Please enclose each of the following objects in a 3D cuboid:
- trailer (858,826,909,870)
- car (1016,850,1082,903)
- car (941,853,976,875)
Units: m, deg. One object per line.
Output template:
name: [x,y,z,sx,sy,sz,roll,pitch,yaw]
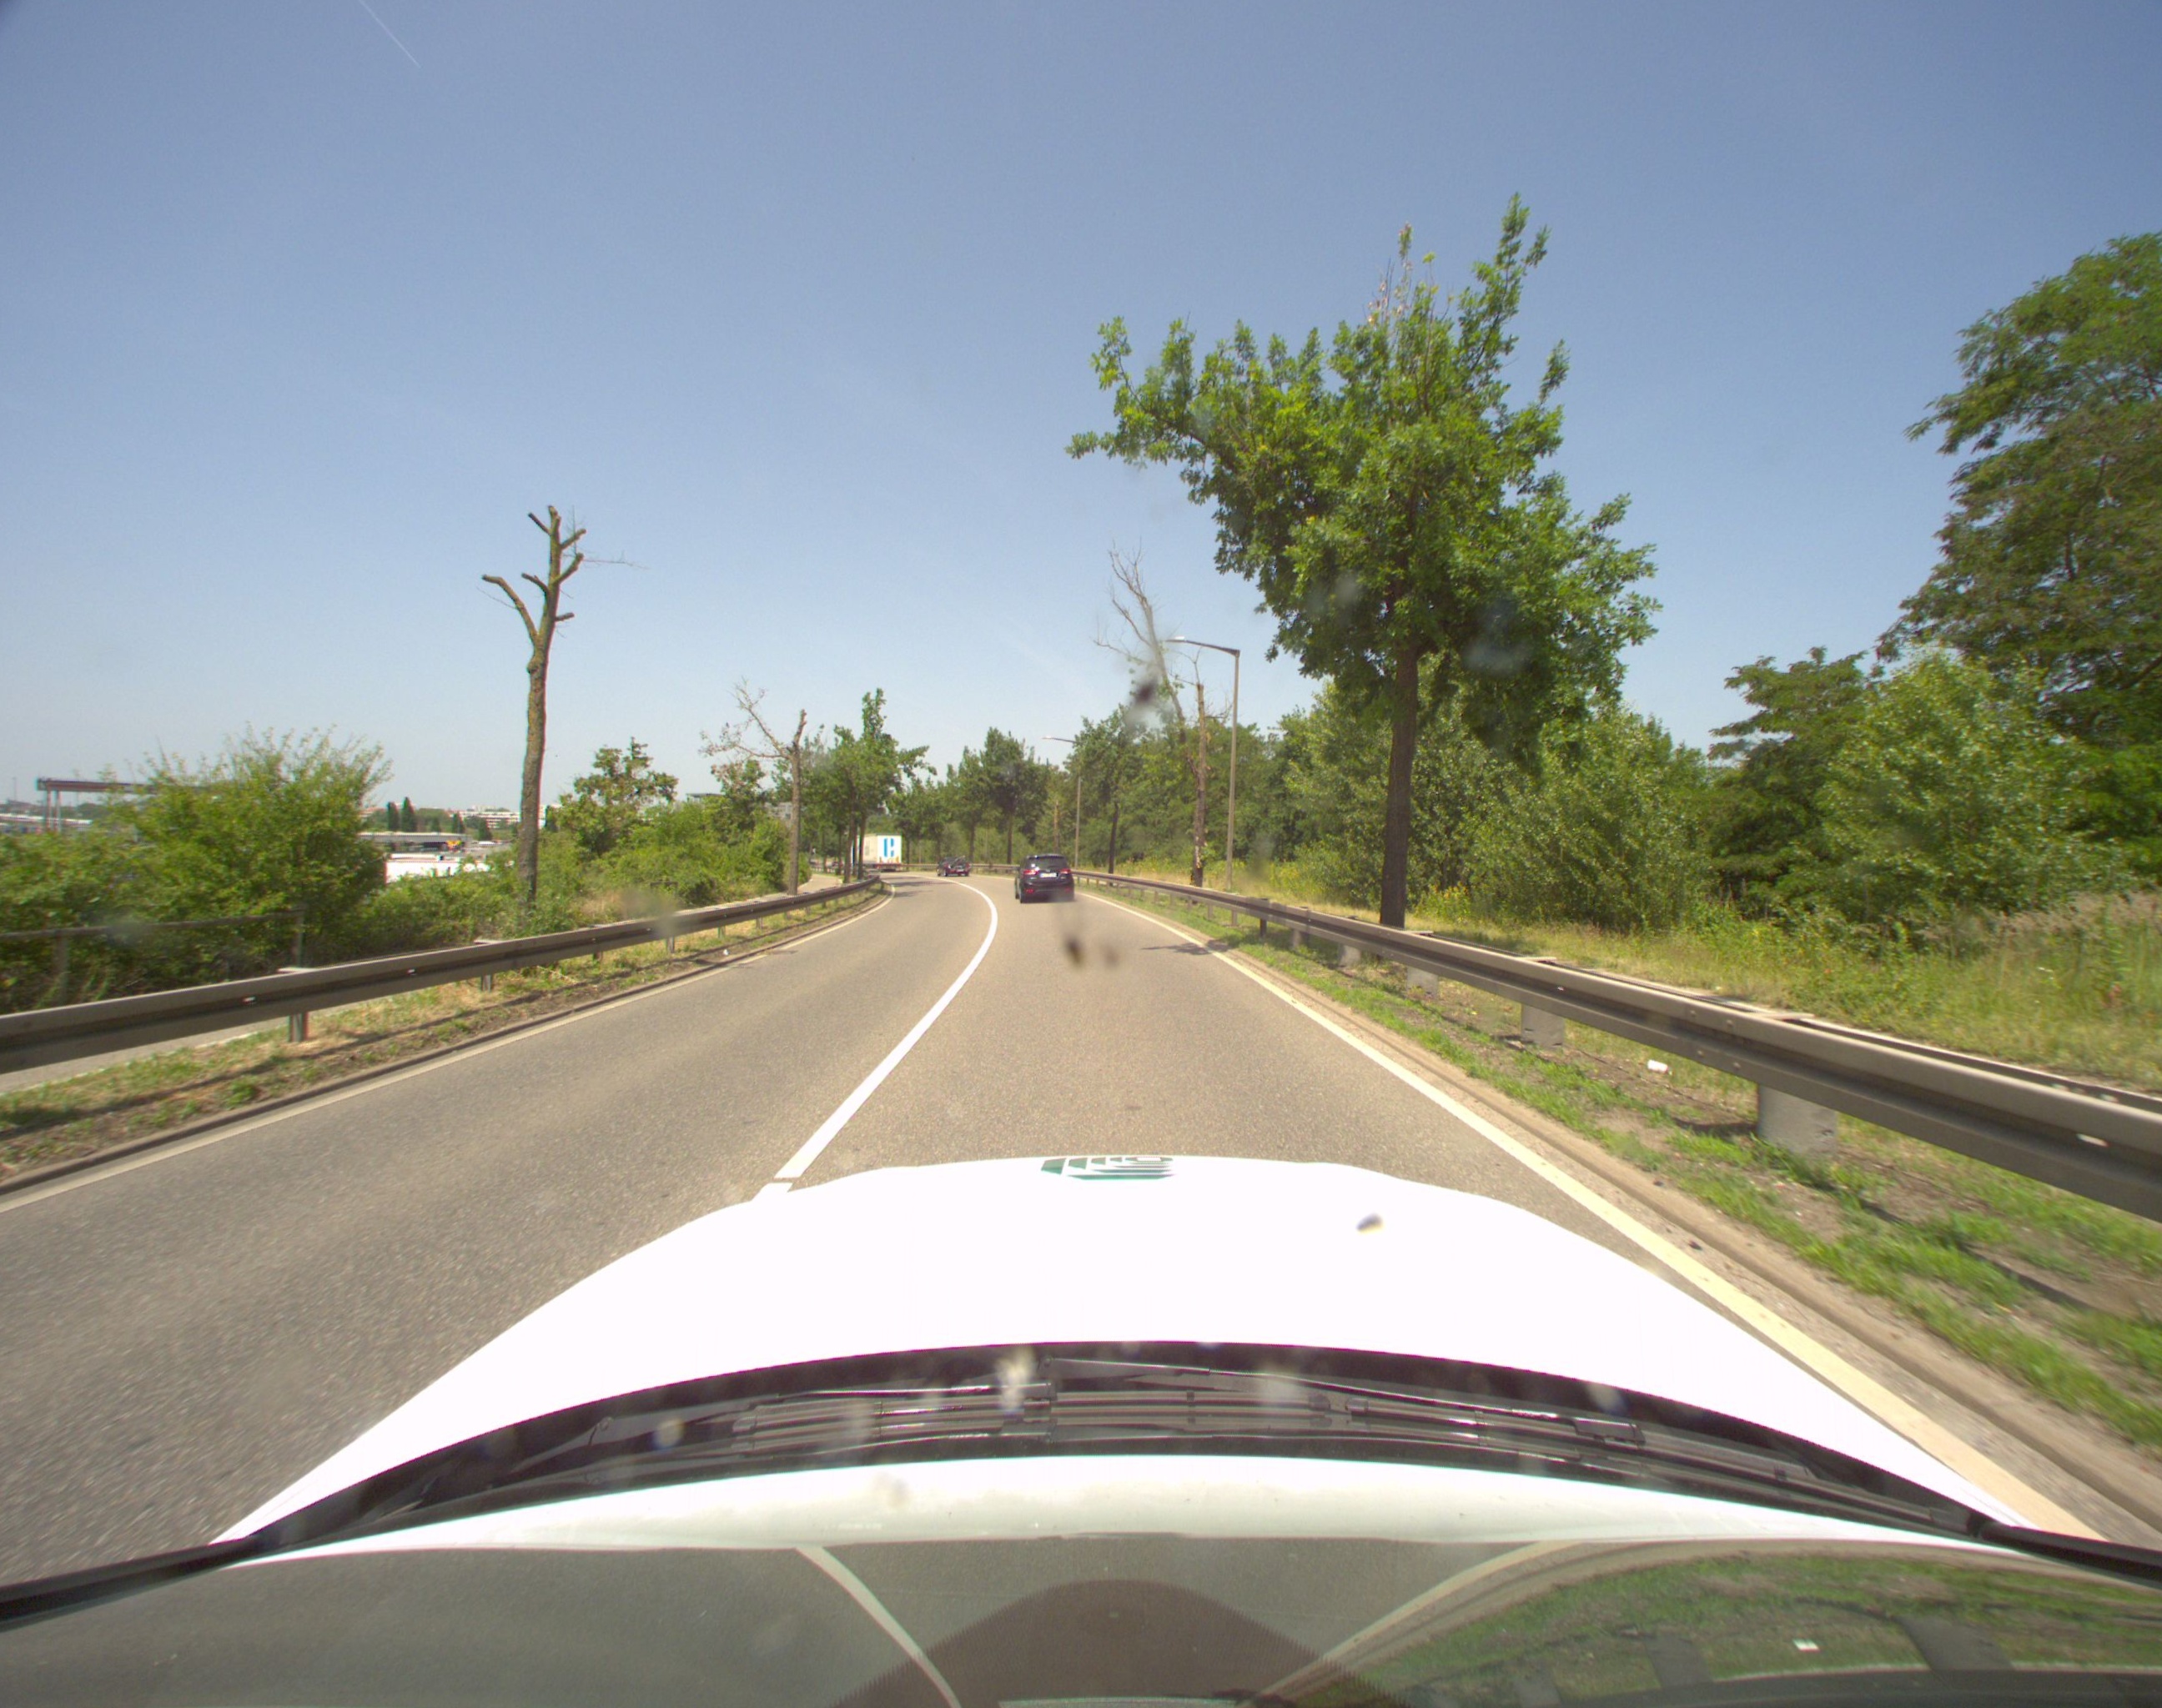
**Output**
trailer: [-21.291,-0.734,87.359,3.585,4.383,11.356,-1,2,-22]
car: [-1.153,0.683,27.639,1.920,1.574,3.882,-1,1,-7]
car: [-8.842,0.692,58.444,2.015,1.429,3.757,-1,1,-15]
